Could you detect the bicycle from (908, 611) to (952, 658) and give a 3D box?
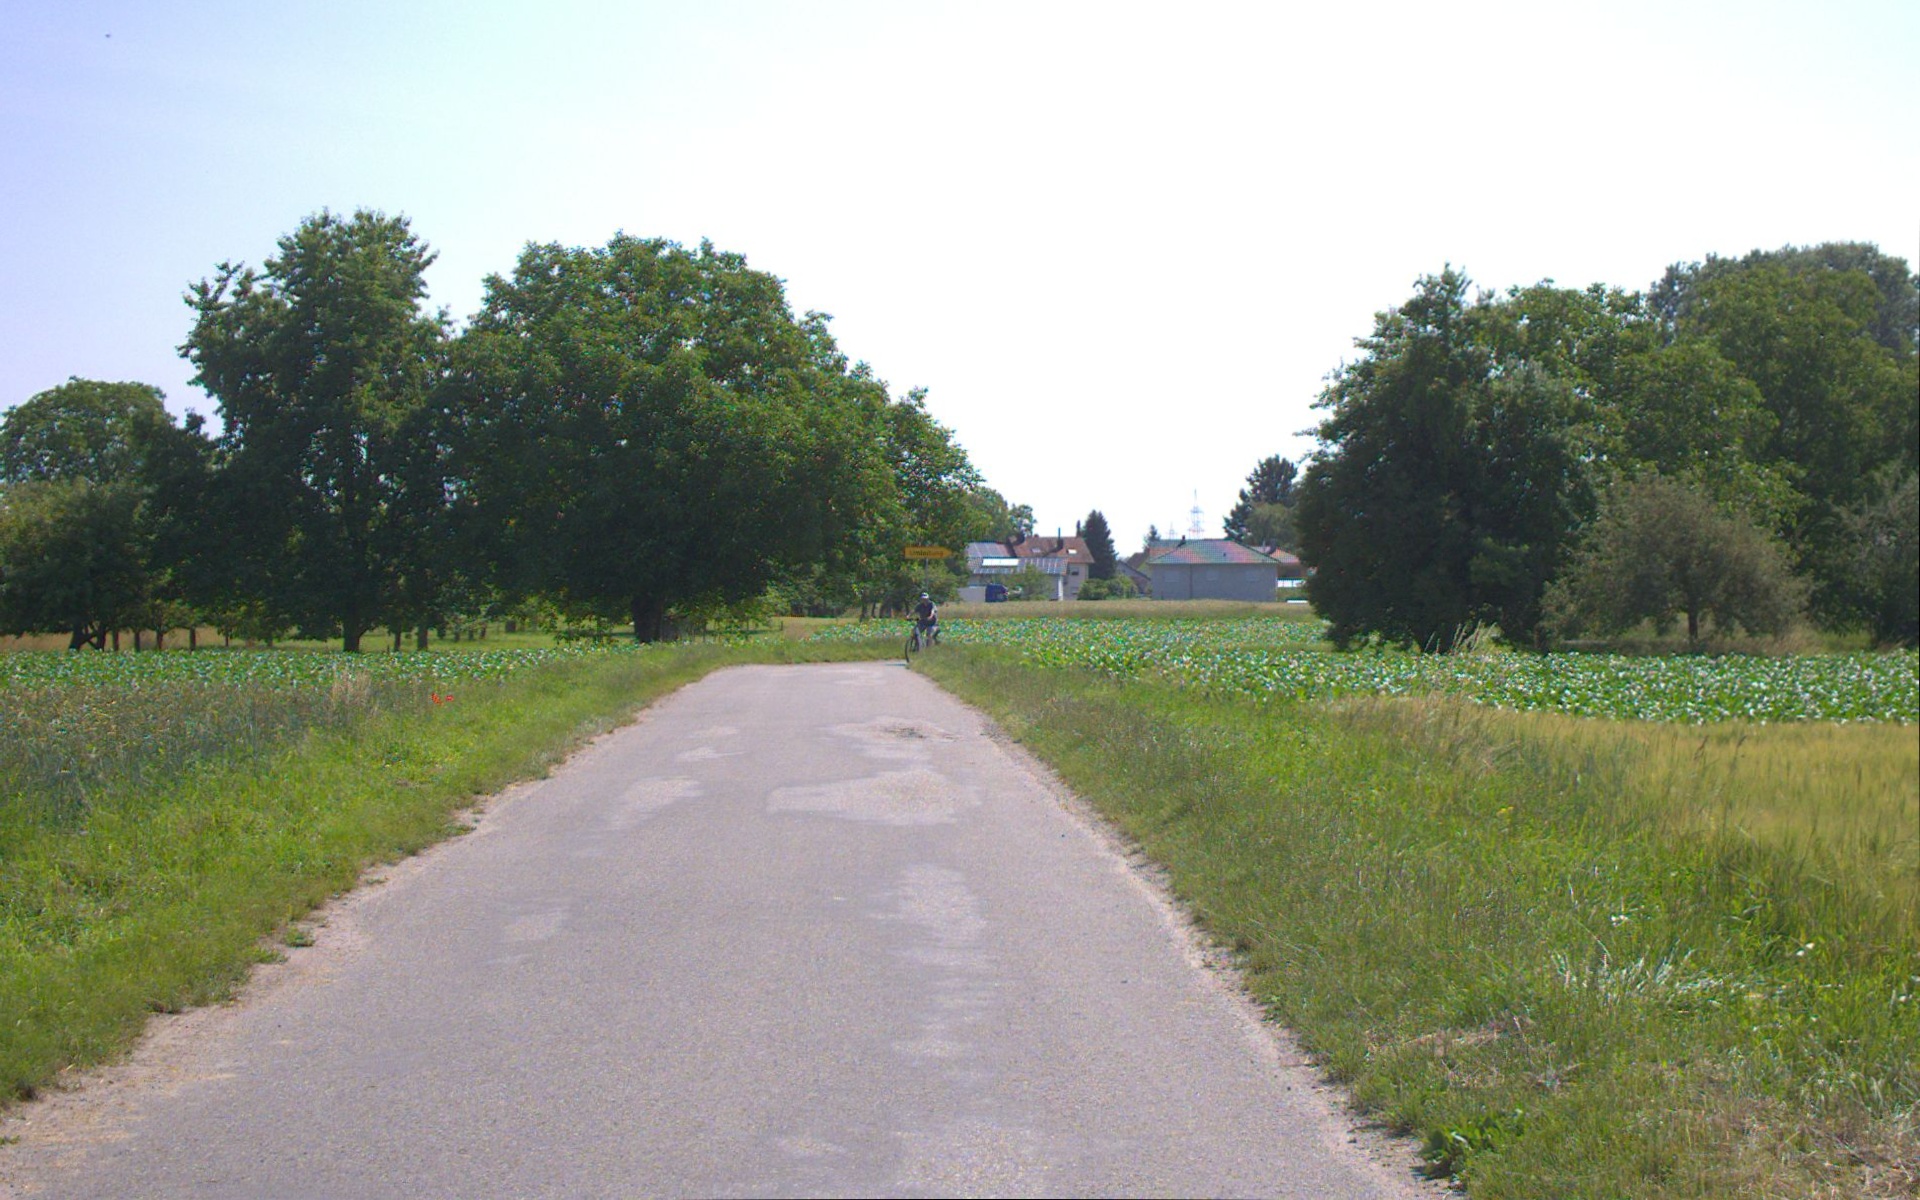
[{"bbox_3d":[-0.746,0.852,86.346,0.751,1.124,1.907,-2,0,9],"label":"bicycle"}]

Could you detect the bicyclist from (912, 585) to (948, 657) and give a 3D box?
[{"bbox_3d":[-0.752,0.526,86.351,0.751,1.785,0.716,-2,0,9],"label":"bicyclist"}]
